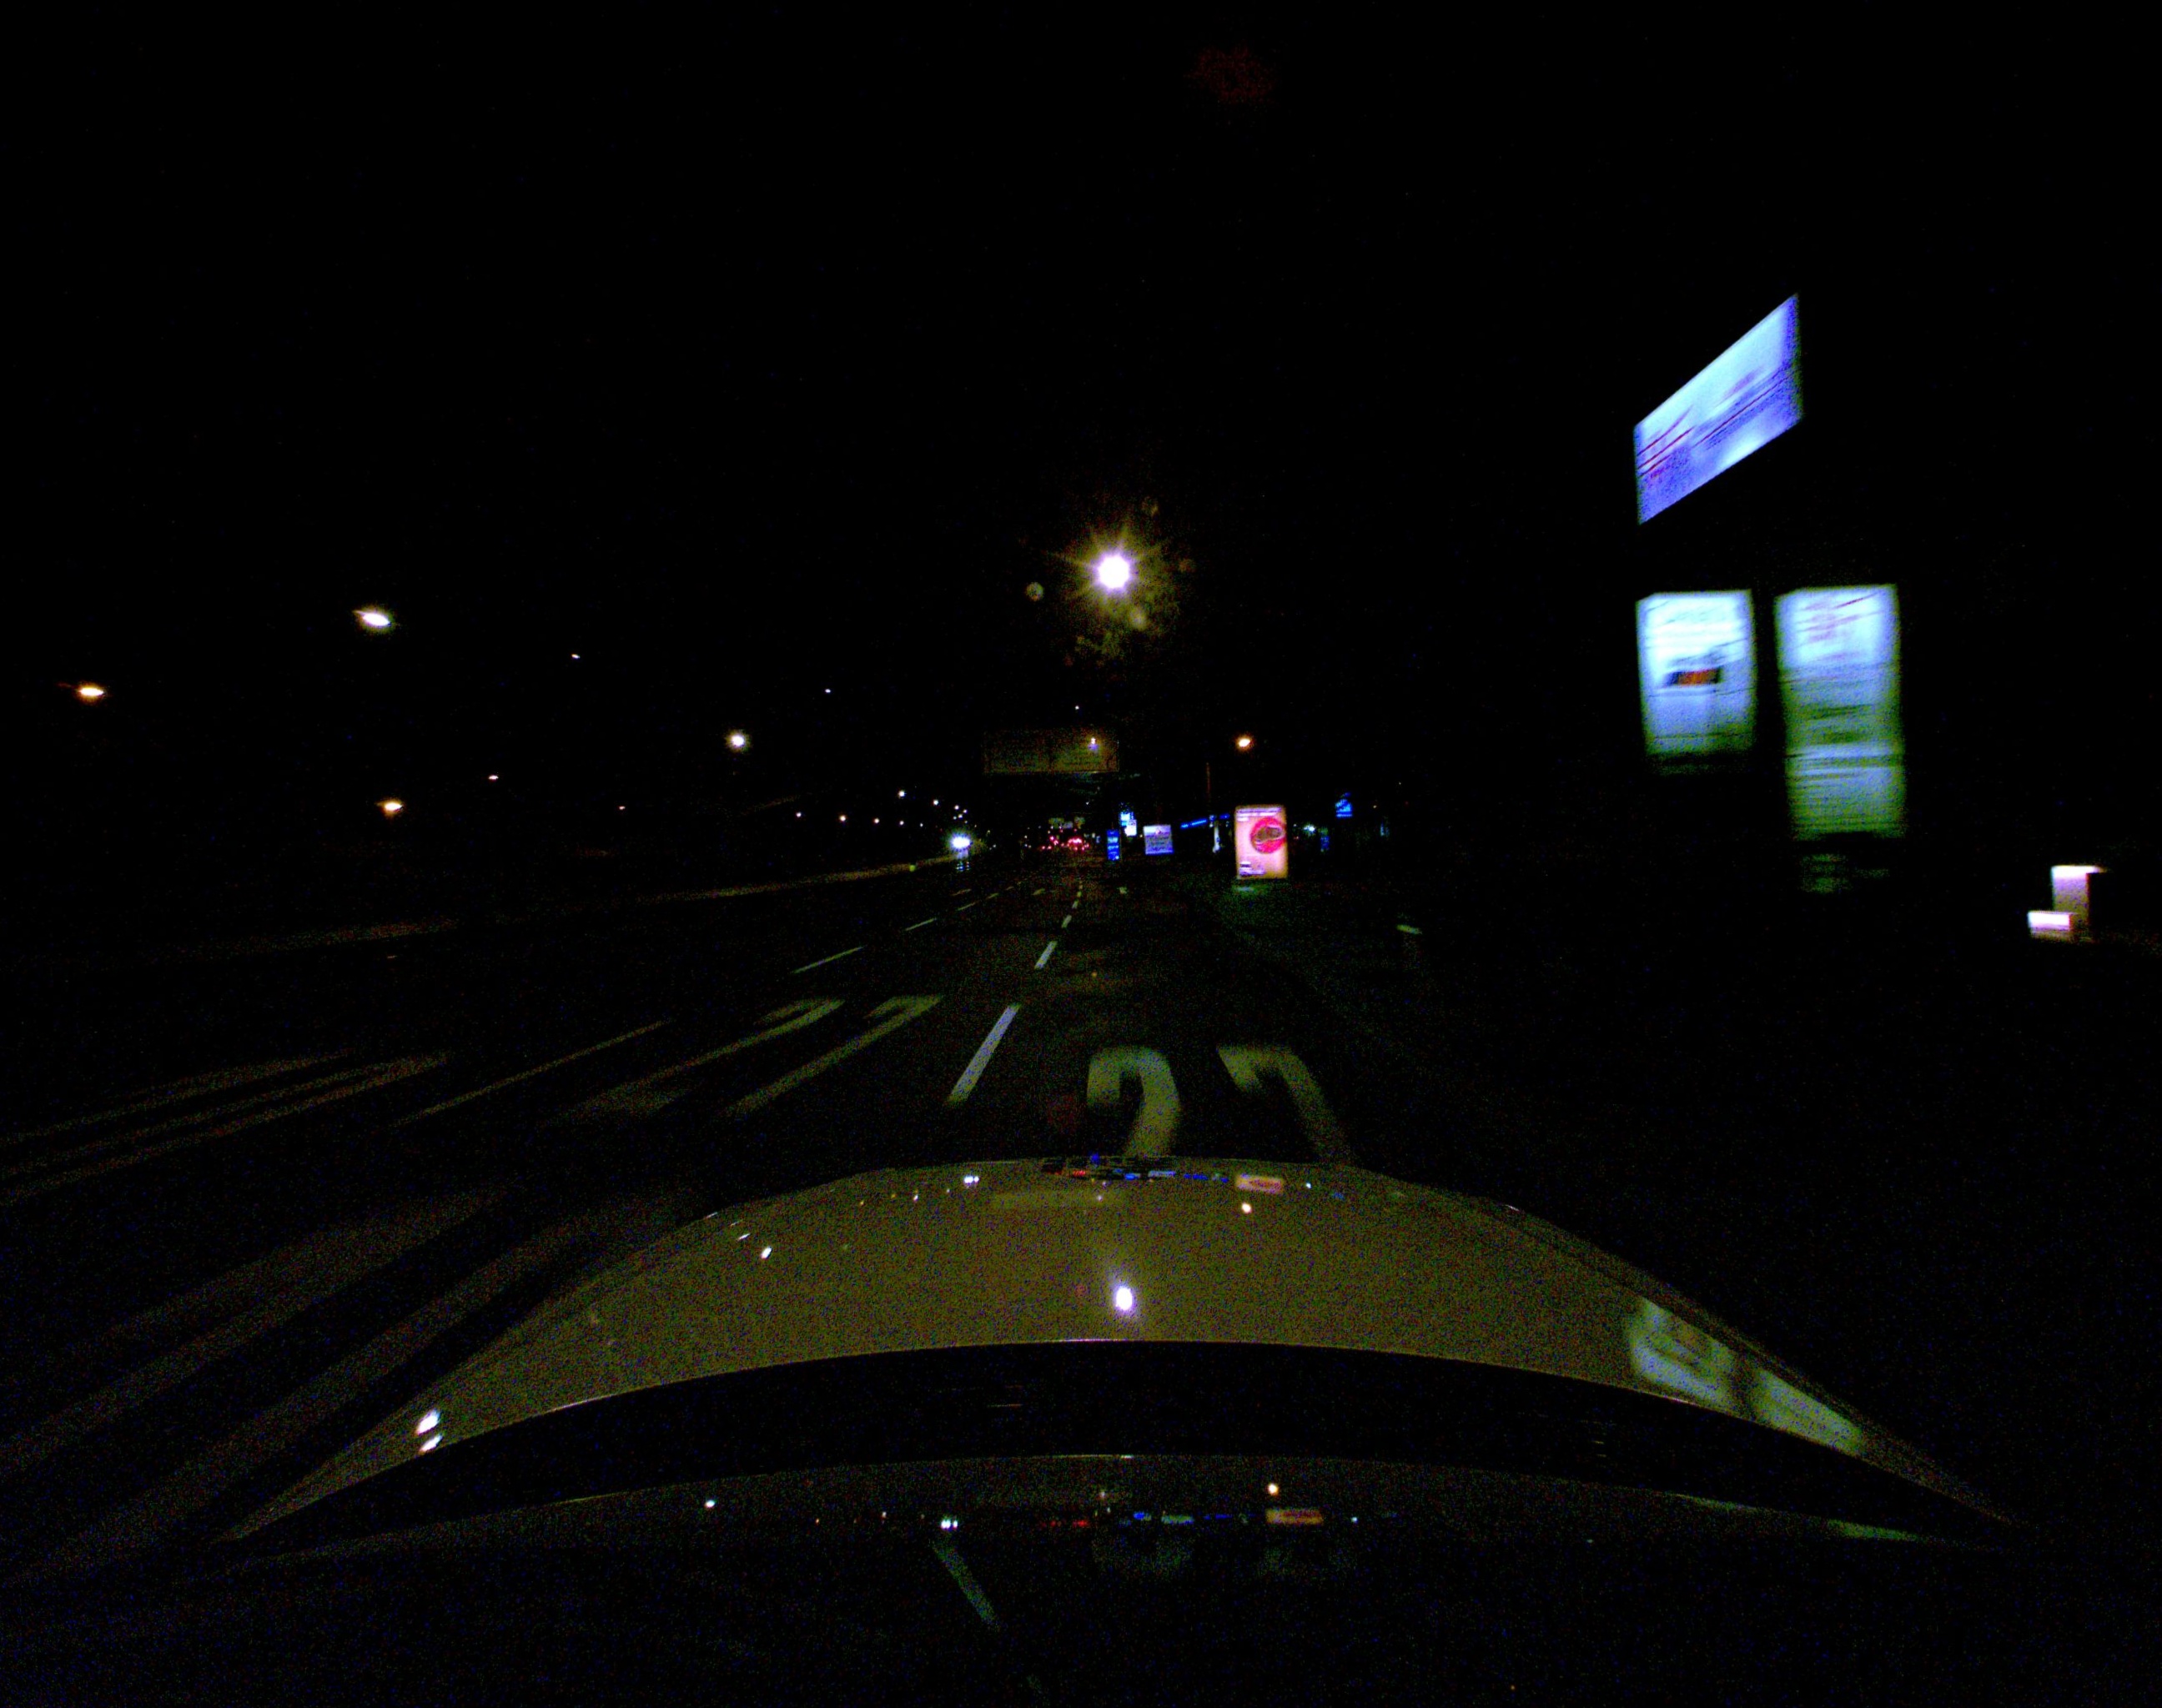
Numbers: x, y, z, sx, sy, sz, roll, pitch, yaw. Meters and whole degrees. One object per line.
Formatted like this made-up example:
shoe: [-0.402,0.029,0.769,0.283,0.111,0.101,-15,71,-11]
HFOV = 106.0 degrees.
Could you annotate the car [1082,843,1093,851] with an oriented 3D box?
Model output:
car: [1.635,-1.764,201.560,2.642,2.014,5.300,0,0,1]

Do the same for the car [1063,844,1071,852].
car: [-3.389,-1.401,193.700,1.776,1.711,4.001,0,0,1]

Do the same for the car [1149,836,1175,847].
car: [13.130,-2.077,132.030,4.106,1.522,1.822,-3,-1,0]

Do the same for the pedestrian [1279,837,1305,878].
pedestrian: [8.927,0.150,34.480,0.850,1.707,0.957,1,-1,0]

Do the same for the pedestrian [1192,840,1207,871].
pedestrian: [7.526,0.076,51.705,0.800,1.913,0.795,-4,0,8]

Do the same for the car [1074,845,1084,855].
car: [-0.394,-0.775,158.395,1.961,1.711,4.001,0,0,1]

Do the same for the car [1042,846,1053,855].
car: [-6.783,-0.724,164.814,1.961,1.711,4.001,0,0,1]
